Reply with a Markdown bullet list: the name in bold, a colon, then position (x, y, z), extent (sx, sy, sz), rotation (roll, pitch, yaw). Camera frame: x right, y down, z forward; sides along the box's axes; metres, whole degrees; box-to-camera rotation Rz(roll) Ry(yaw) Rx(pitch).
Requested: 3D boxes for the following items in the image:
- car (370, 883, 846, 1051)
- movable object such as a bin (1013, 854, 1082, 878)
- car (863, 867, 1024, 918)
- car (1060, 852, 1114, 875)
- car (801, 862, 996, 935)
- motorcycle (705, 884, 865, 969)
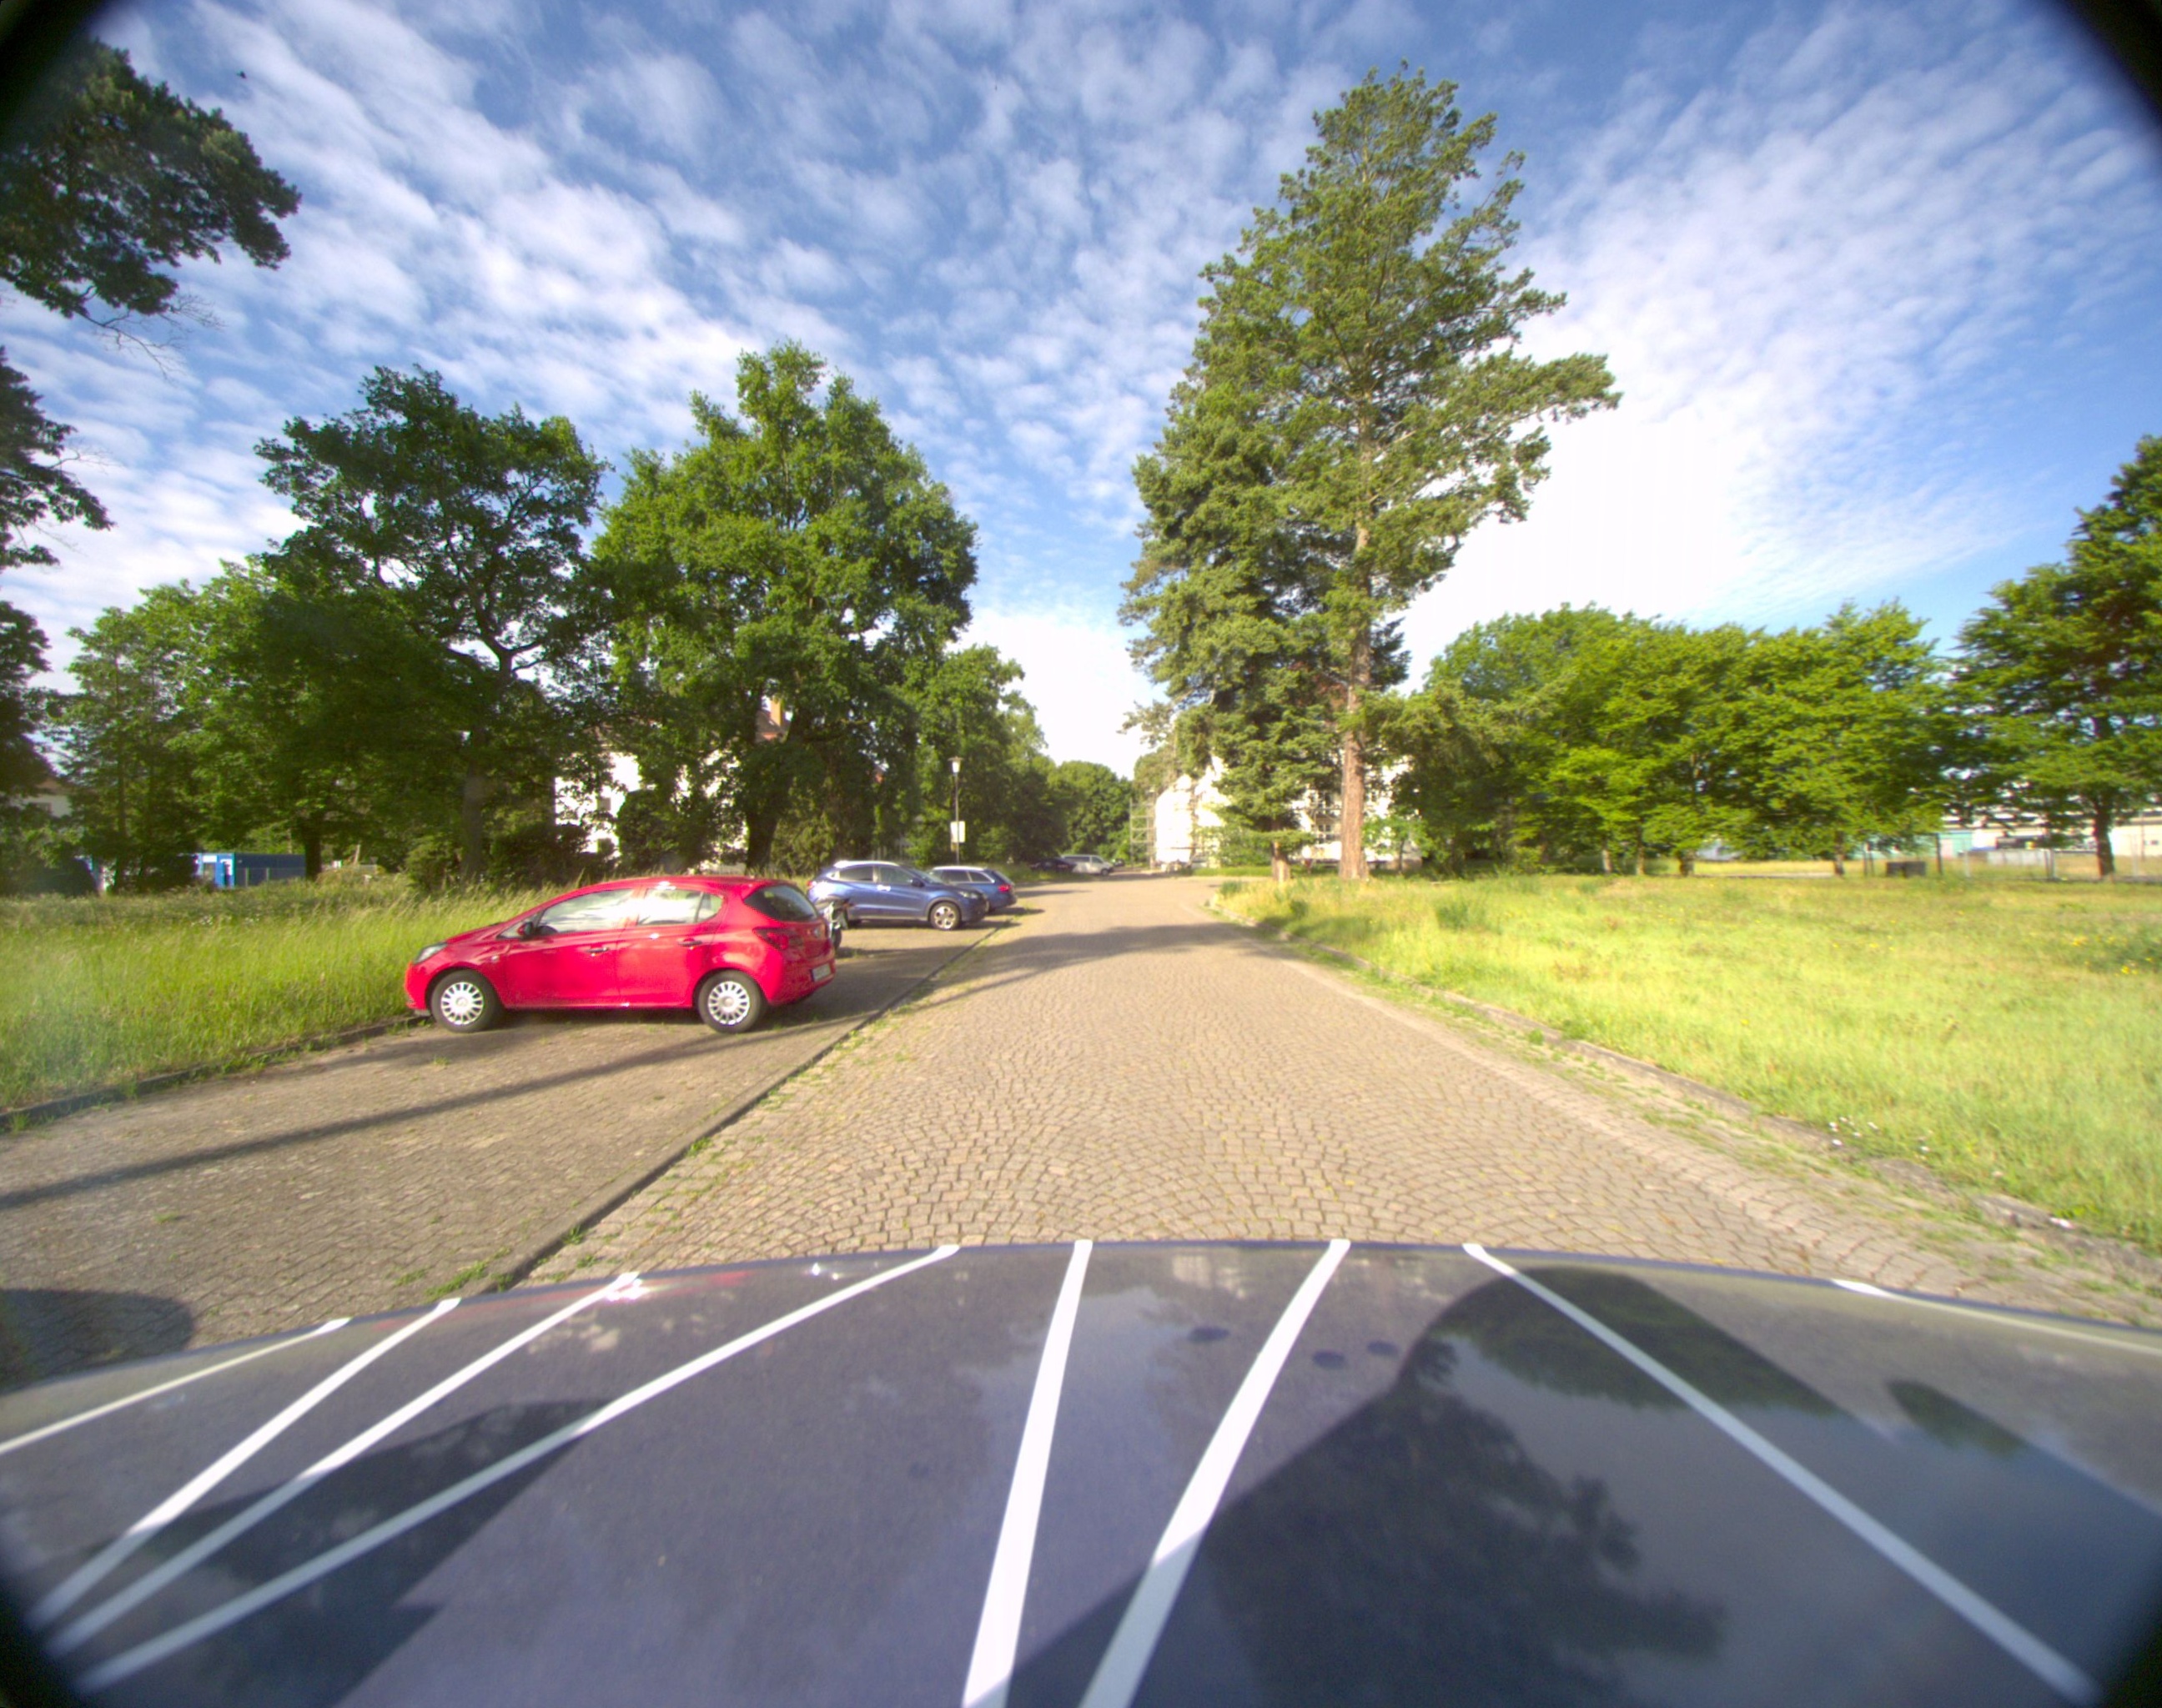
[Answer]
- **car**: position (-4.587, 1.069, 7.791), extent (3.837, 1.470, 1.645), rotation (0, 0, 0)
- **movable object such as a bin**: position (-2.596, 0.938, 58.631), extent (4.931, 1.749, 2.002), rotation (-1, 0, 16)
- **car**: position (-4.066, 1.134, 22.816), extent (4.459, 1.399, 1.714), rotation (0, 0, 4)
- **car**: position (0.587, 0.872, 71.496), extent (4.936, 2.002, 2.000), rotation (-1, 0, 1)
- **car**: position (-4.226, 1.018, 18.089), extent (4.187, 1.581, 1.751), rotation (-1, 0, 1)
- **motorcycle**: position (-4.778, 1.154, 12.349), extent (2.305, 1.312, 0.726), rotation (0, 0, 1)
